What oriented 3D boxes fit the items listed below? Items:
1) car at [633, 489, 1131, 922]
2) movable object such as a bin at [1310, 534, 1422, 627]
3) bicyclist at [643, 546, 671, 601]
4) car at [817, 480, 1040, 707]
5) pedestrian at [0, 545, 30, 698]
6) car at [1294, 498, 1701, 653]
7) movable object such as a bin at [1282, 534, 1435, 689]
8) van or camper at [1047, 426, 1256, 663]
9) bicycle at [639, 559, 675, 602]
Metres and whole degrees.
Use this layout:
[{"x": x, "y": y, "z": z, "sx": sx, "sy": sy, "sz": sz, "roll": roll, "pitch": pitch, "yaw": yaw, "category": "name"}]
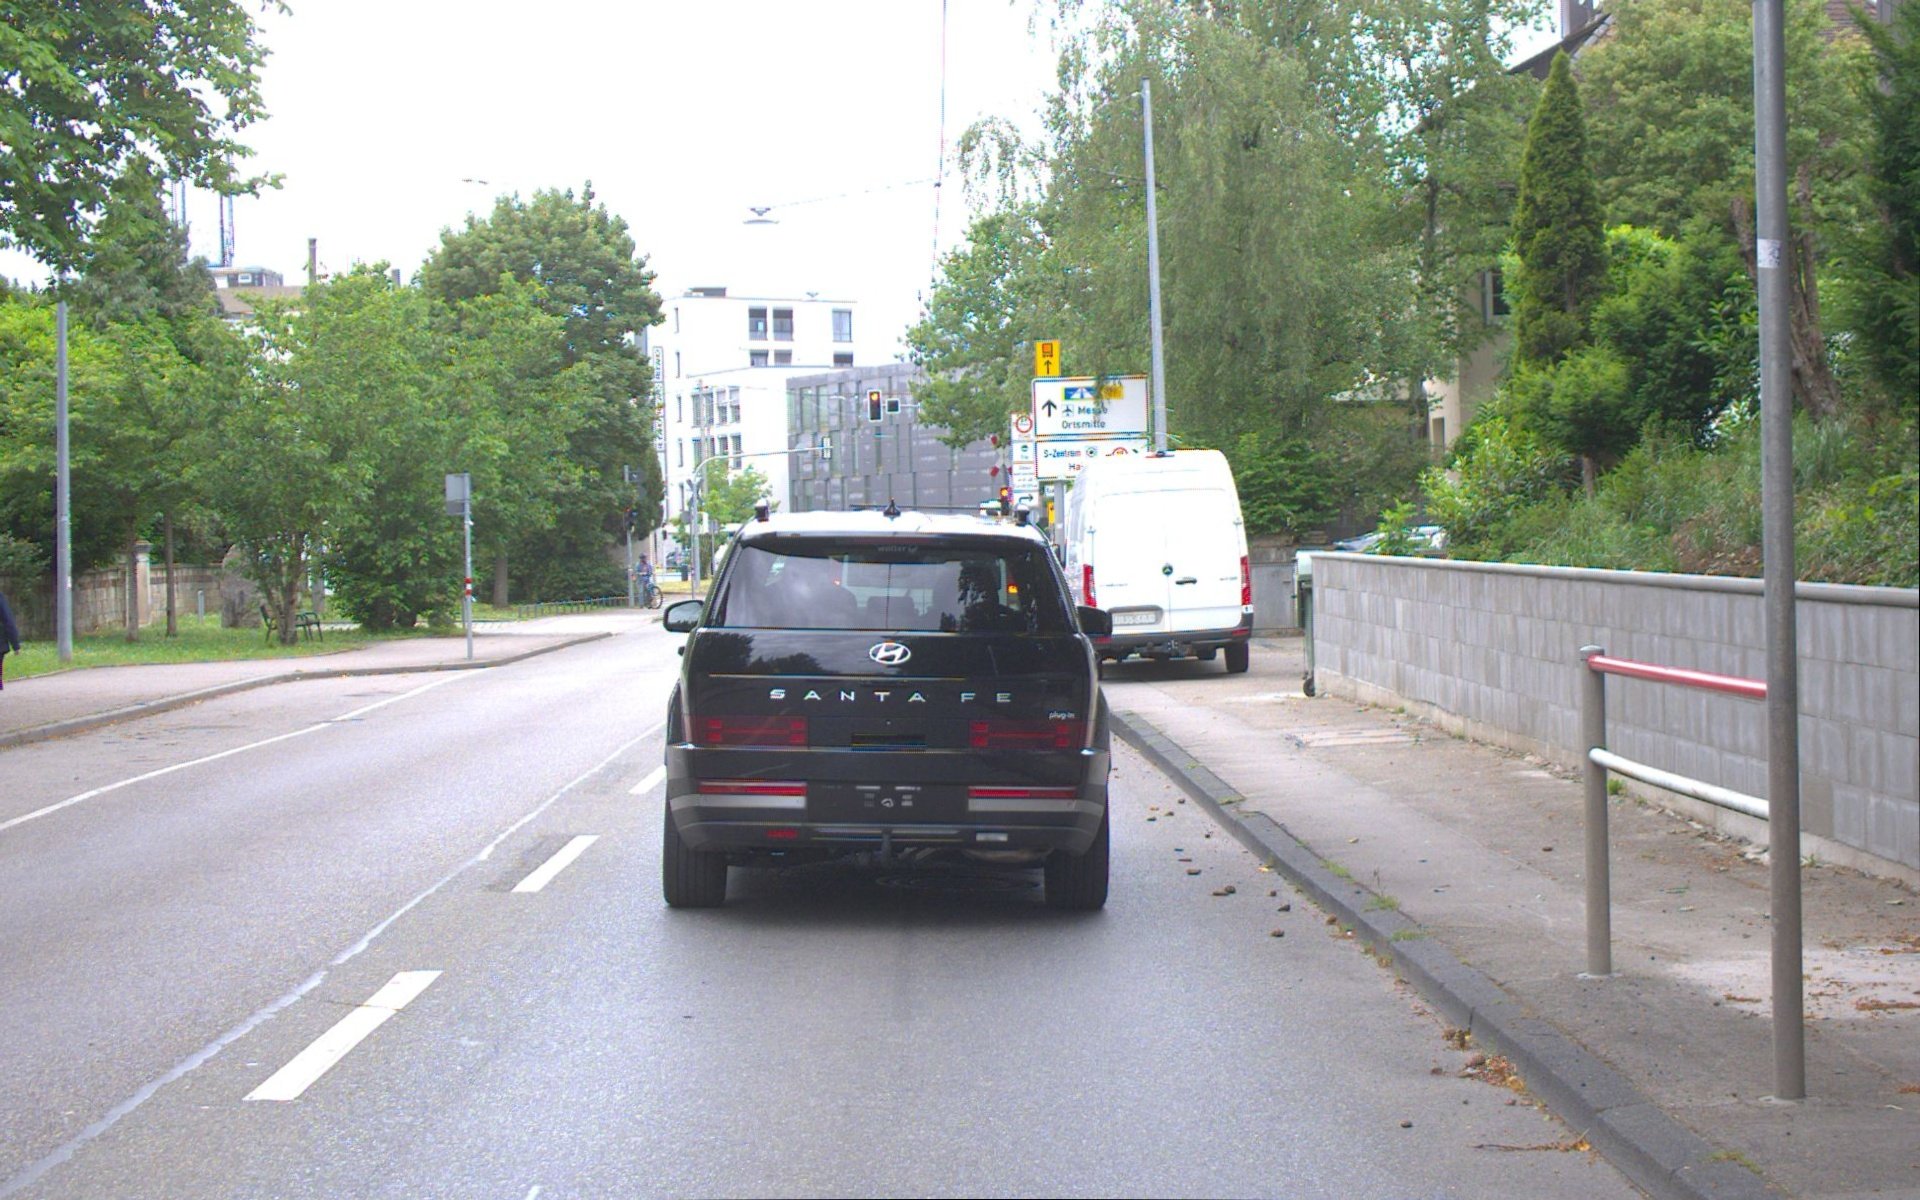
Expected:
[{"x": -0.327, "y": 0.393, "z": 15.681, "sx": 1.963, "sy": 1.705, "sz": 4.000, "roll": 1, "pitch": 1, "yaw": 0, "category": "car"}, {"x": 6.532, "y": -0.320, "z": 55.391, "sx": 1.449, "sy": 1.468, "sz": 1.718, "roll": 1, "pitch": 1, "yaw": -6, "category": "movable object such as a bin"}, {"x": -9.170, "y": -0.792, "z": 104.017, "sx": 0.675, "sy": 1.653, "sz": 0.859, "roll": 1, "pitch": -1, "yaw": -14, "category": "bicyclist"}, {"x": -0.325, "y": -0.084, "z": 32.580, "sx": 1.963, "sy": 1.994, "sz": 4.000, "roll": 1, "pitch": 1, "yaw": -1, "category": "car"}, {"x": -10.153, "y": 0.212, "z": 35.741, "sx": 0.748, "sy": 1.572, "sz": 0.967, "roll": 1, "pitch": 1, "yaw": -4, "category": "pedestrian"}, {"x": 6.140, "y": -0.292, "z": 39.611, "sx": 4.394, "sy": 1.646, "sz": 1.830, "roll": -1, "pitch": 1, "yaw": 1, "category": "car"}, {"x": 3.869, "y": 0.101, "z": 33.493, "sx": 1.299, "sy": 1.445, "sz": 1.181, "roll": -2, "pitch": 0, "yaw": 0, "category": "movable object such as a bin"}, {"x": 2.266, "y": -0.677, "z": 42.354, "sx": 1.963, "sy": 2.619, "sz": 6.359, "roll": -3, "pitch": 1, "yaw": -1, "category": "van or camper"}, {"x": -9.166, "y": -0.582, "z": 103.986, "sx": 0.675, "sy": 1.275, "sz": 2.501, "roll": 1, "pitch": -1, "yaw": -14, "category": "bicycle"}]
